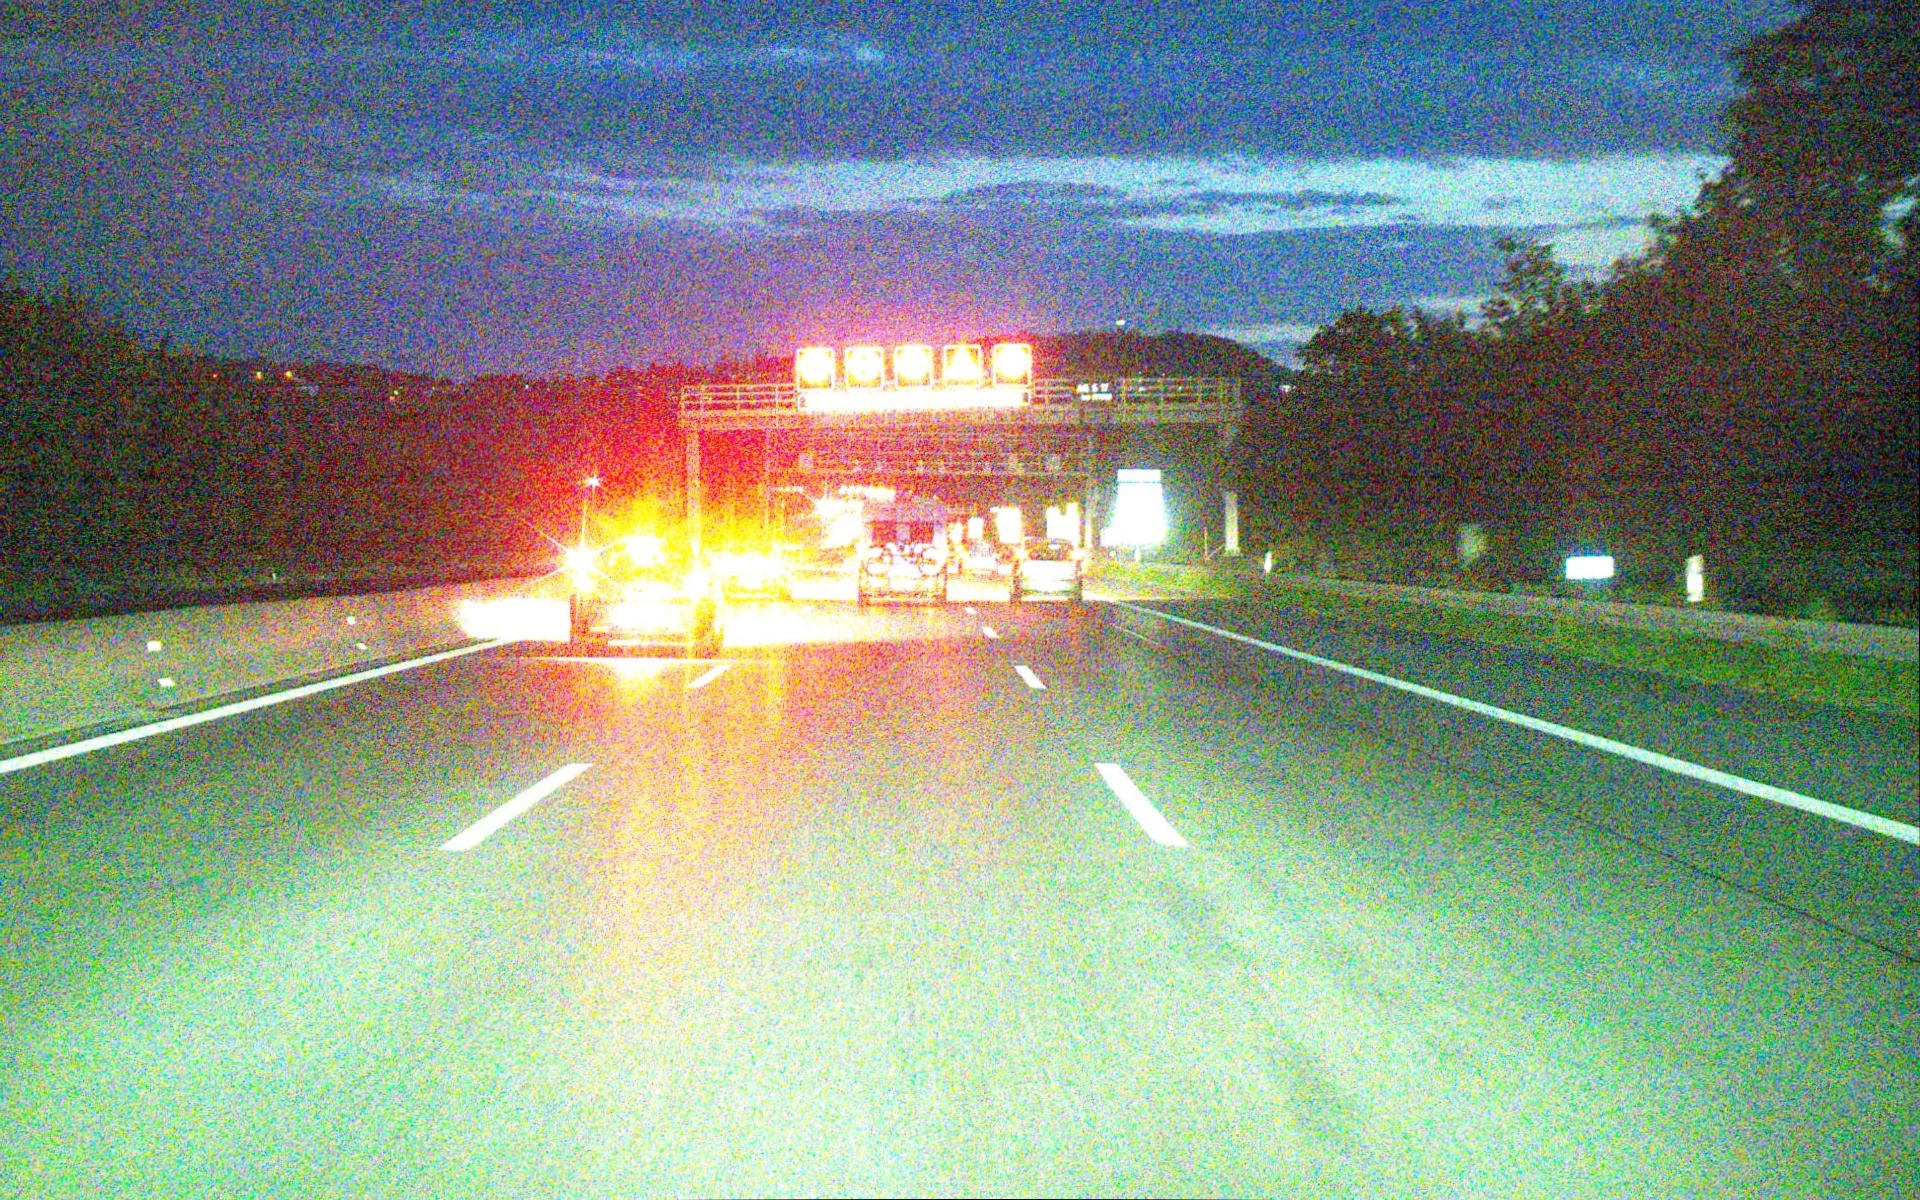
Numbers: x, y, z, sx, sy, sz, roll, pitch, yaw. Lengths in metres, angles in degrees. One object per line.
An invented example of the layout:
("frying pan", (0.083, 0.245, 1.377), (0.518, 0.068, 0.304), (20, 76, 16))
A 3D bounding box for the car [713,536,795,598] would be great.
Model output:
("car", (-4.945, -0.820, 83.046), (1.744, 1.435, 4.368), (-1, 1, -1))

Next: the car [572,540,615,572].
("car", (-19.081, -2.286, 179.057), (1.903, 1.612, 4.404), (-1, 1, -2))

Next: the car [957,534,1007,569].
("car", (0.969, -2.197, 155.539), (2.163, 1.558, 4.723), (0, 1, -1))

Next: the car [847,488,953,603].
("car", (-1.362, -1.277, 79.363), (2.351, 2.526, 5.701), (-1, 1, -1))

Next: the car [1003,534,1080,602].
("car", (1.969, -0.787, 83.891), (1.646, 1.591, 4.510), (1, 1, -2))

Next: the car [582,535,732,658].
("car", (-3.807, -0.076, 43.435), (1.793, 1.464, 3.773), (1, 1, -4))
